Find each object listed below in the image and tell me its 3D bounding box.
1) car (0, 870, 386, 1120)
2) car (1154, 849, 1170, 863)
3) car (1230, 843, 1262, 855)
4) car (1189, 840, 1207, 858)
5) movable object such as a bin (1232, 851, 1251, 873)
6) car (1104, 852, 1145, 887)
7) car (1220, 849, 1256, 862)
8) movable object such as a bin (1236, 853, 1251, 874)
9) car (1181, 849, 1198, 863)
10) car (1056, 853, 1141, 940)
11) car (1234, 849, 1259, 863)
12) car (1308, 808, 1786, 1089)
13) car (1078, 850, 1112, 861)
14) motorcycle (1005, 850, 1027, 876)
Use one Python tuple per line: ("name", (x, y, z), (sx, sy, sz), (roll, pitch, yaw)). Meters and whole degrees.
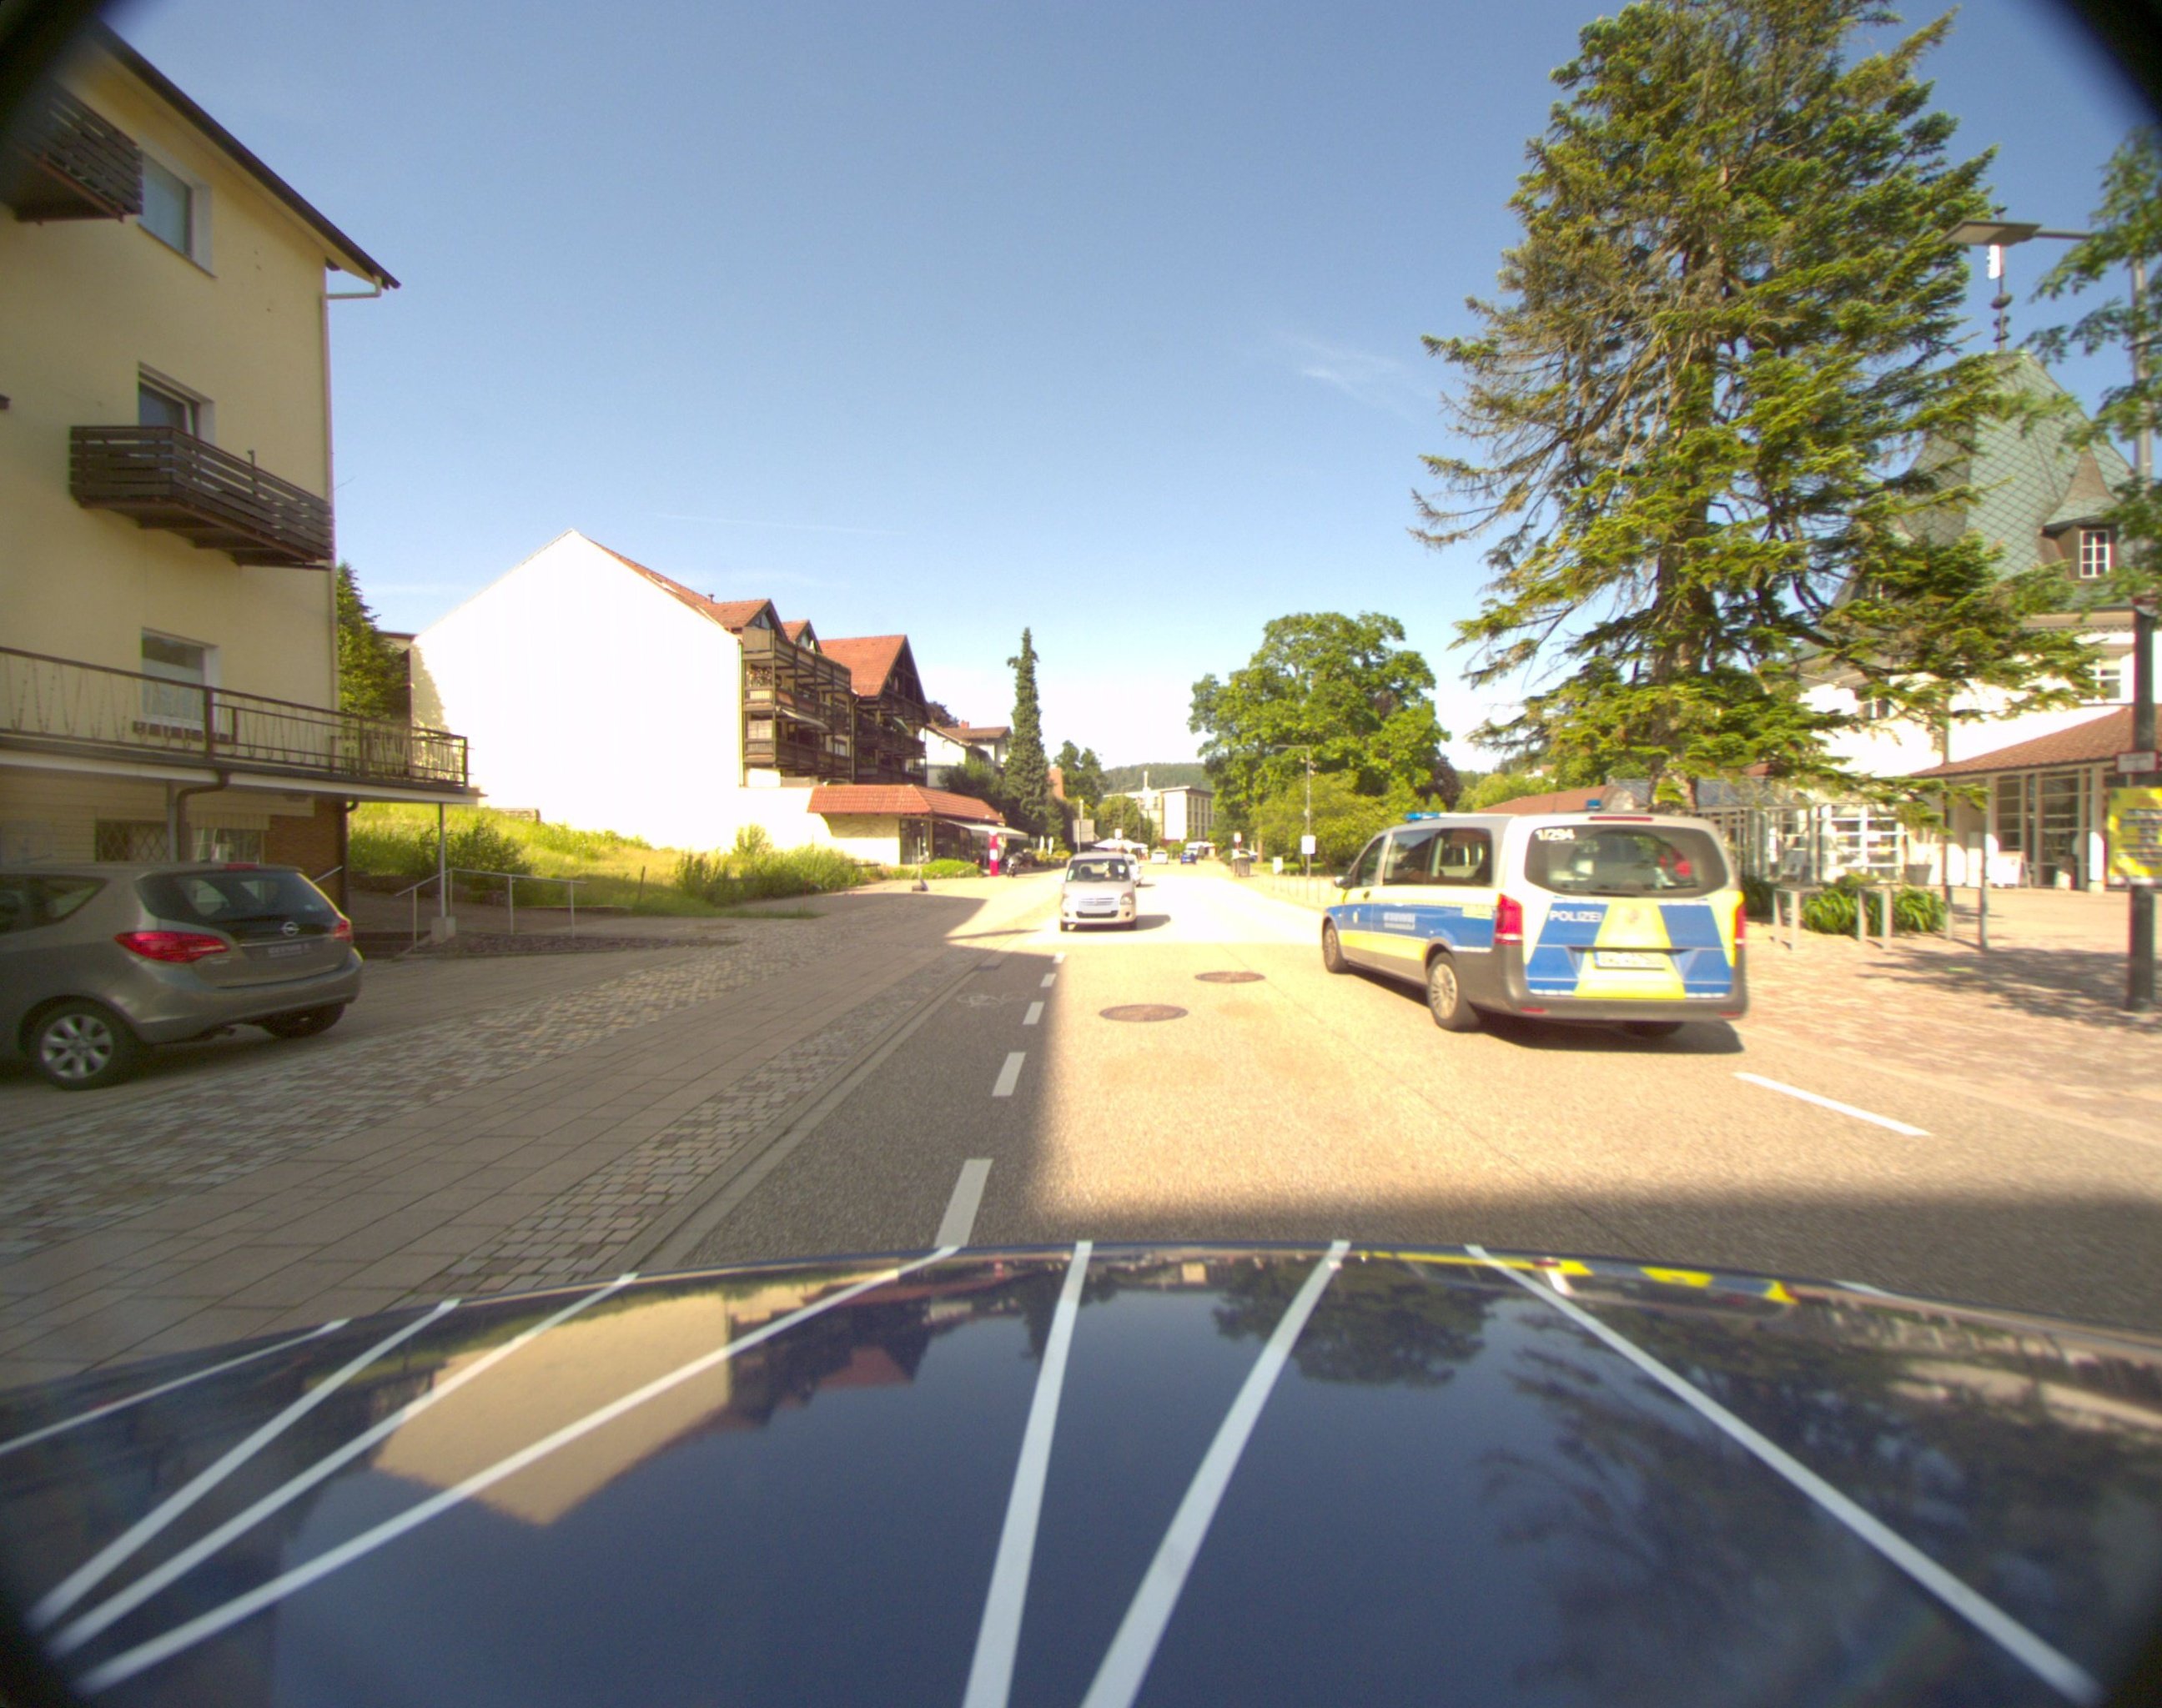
("car", (-8.147, 1.020, 5.813), (3.870, 1.545, 1.760), (-3, 1, -3))
("car", (9.251, 0.190, 86.679), (1.653, 1.462, 4.002), (-2, 0, 8))
("car", (24.364, -0.763, 112.200), (4.490, 1.654, 1.811), (-2, 1, 12))
("car", (18.638, -0.763, 120.933), (1.786, 2.775, 5.921), (-2, 0, 19))
("movable object such as a bin", (10.735, 0.546, 50.761), (1.081, 1.419, 1.377), (-2, 1, 7))
("car", (2.009, 0.692, 35.361), (1.740, 1.488, 3.930), (-1, 0, 3))
("car", (19.749, 0.186, 95.728), (4.285, 1.423, 1.713), (-2, 1, 3))
("movable object such as a bin", (10.439, 0.591, 48.849), (0.756, 1.334, 1.295), (-2, 1, 7))
("car", (12.369, 0.170, 86.937), (1.745, 1.454, 4.187), (0, 1, 5))
("car", (0.358, 0.824, 16.791), (1.605, 1.628, 4.000), (-2, 0, 1))
("car", (18.709, 0.232, 85.978), (2.654, 1.538, 1.684), (-2, 1, 16))
("car", (3.992, 0.645, 7.811), (1.859, 1.942, 5.017), (1, 0, 1))
("car", (1.774, 0.181, 97.153), (4.116, 1.407, 1.750), (0, 1, 11))
("motorcycle", (-3.422, 0.470, 40.281), (0.698, 1.289, 2.213), (2, 1, 6))
